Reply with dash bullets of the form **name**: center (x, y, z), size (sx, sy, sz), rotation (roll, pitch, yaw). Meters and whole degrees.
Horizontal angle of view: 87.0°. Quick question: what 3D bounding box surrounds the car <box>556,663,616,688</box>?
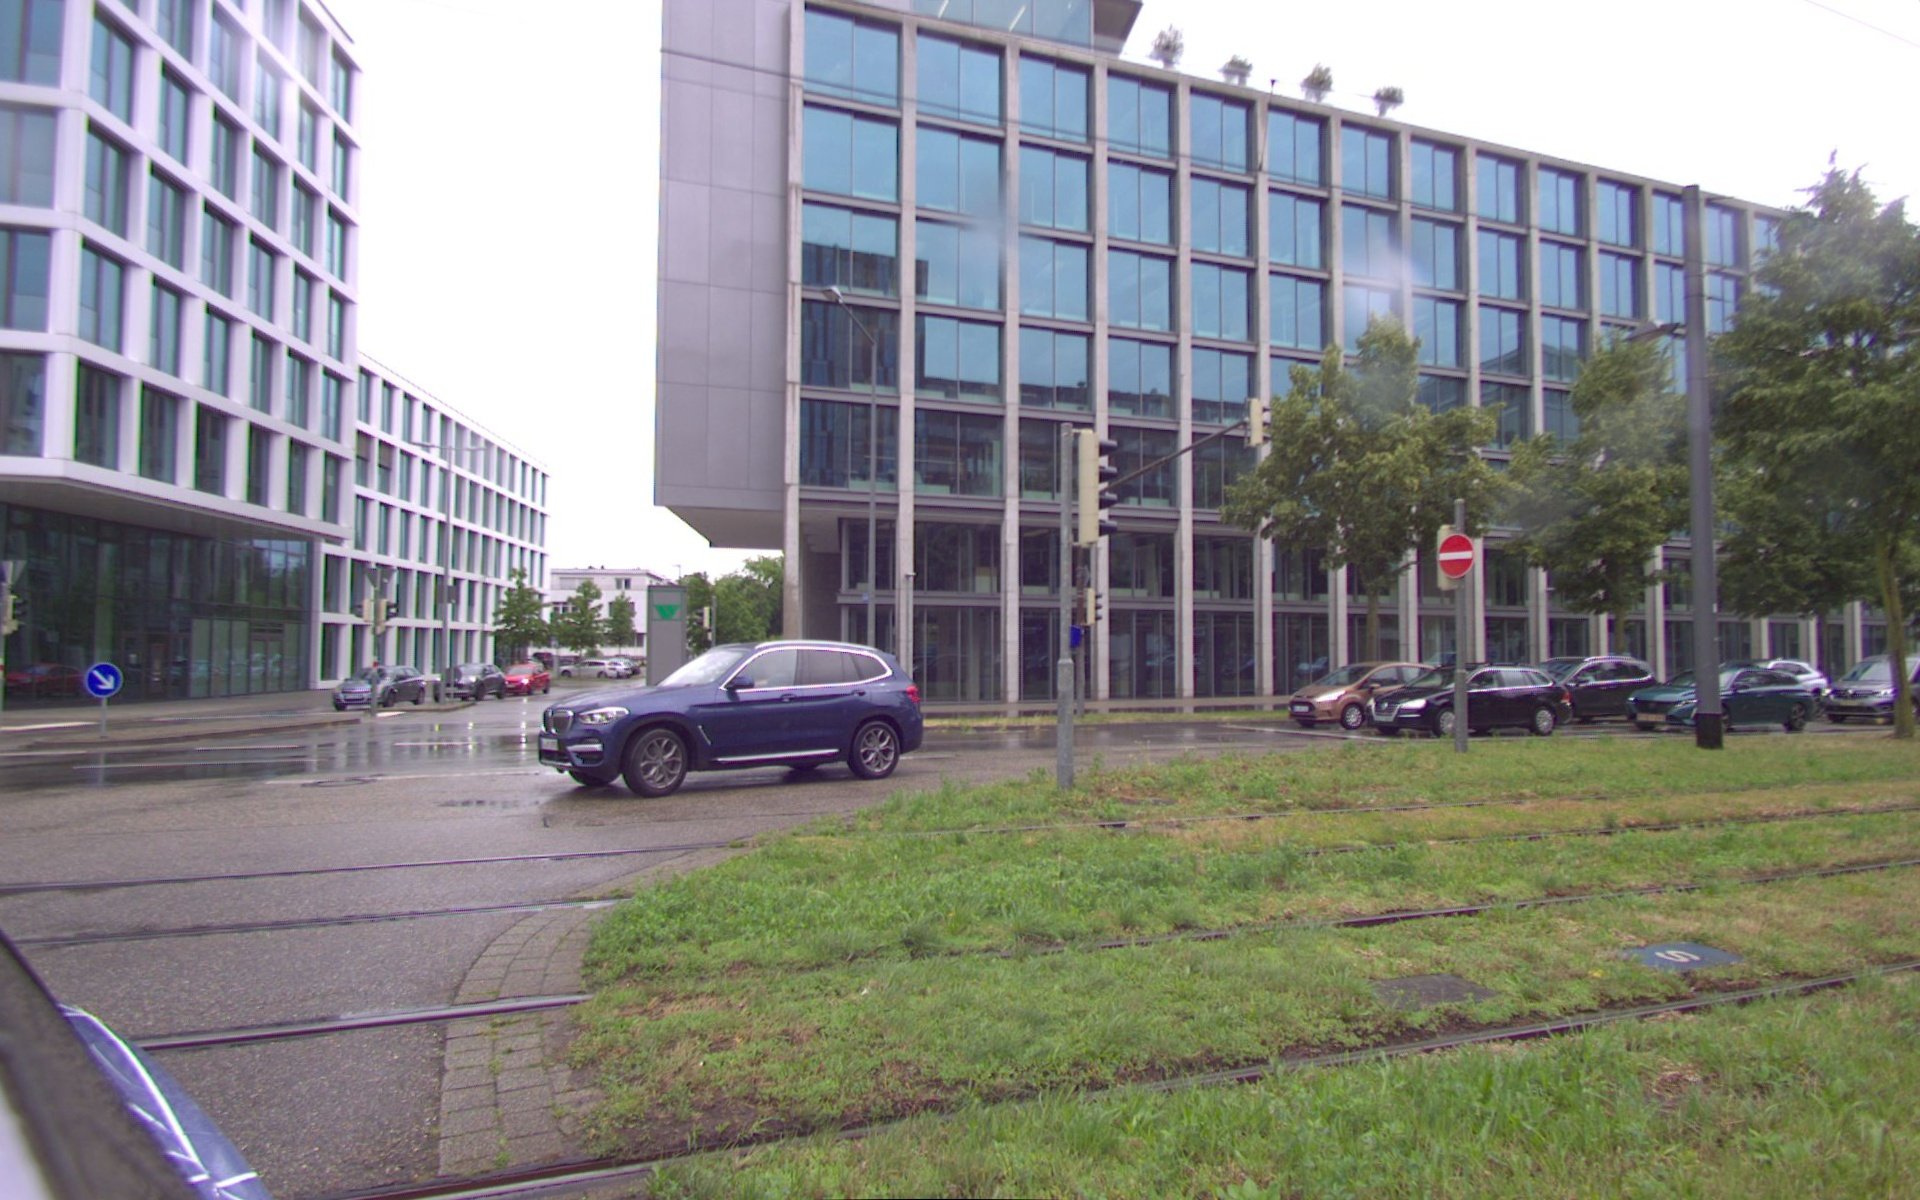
- **car**: center (-28.043, 5.633, 76.001), size (3.935, 1.674, 2.004), rotation (-1, -2, -10)

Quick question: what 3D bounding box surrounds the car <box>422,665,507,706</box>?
- **car**: center (-20.272, 3.459, 41.609), size (1.858, 1.447, 4.100), rotation (-2, -2, -6)

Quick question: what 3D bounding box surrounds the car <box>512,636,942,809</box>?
- **car**: center (-2.611, 1.326, 12.089), size (4.641, 1.673, 1.932), rotation (3, -5, -40)

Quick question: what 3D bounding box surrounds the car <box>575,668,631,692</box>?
- **car**: center (-28.352, 6.339, 80.419), size (3.935, 1.674, 2.004), rotation (-1, -2, -10)

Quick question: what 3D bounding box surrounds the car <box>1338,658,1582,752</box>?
- **car**: center (10.365, 2.098, 21.027), size (4.387, 1.571, 1.963), rotation (-2, -2, -20)

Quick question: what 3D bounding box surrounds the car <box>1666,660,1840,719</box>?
- **car**: center (22.525, 2.491, 28.765), size (4.198, 1.396, 1.963), rotation (-1, -2, -22)

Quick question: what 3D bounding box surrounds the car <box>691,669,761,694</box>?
- **car**: center (-16.699, 5.796, 72.372), size (4.588, 1.519, 2.003), rotation (-2, -2, -5)

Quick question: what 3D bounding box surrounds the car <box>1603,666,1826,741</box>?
- **car**: center (17.178, 2.304, 23.062), size (4.395, 1.396, 1.963), rotation (-1, -3, -21)

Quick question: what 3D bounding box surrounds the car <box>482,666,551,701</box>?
- **car**: center (-21.166, 3.965, 48.469), size (1.858, 1.447, 4.100), rotation (-2, -2, -6)

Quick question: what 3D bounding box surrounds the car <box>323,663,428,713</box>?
- **car**: center (-19.926, 2.961, 34.670), size (1.857, 1.447, 4.103), rotation (-1, -2, -11)

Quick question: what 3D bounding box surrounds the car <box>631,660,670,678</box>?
- **car**: center (-33.701, 7.506, 110.264), size (3.935, 1.674, 2.004), rotation (-1, -2, -10)

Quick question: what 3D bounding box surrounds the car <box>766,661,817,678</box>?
- **car**: center (-17.192, 7.043, 103.268), size (4.950, 1.519, 1.856), rotation (-2, -2, -5)

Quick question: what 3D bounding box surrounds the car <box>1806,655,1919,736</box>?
- **car**: center (24.302, 2.375, 25.936), size (4.464, 1.863, 1.963), rotation (0, -3, -20)

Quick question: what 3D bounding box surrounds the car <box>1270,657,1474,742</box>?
- **car**: center (9.770, 2.303, 24.036), size (4.198, 1.707, 1.963), rotation (-1, -2, -21)

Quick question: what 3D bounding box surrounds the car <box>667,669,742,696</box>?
- **car**: center (-16.915, 5.446, 67.209), size (4.588, 1.519, 2.003), rotation (-2, -2, -5)

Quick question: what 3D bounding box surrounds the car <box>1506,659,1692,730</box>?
- **car**: center (16.741, 2.416, 26.534), size (4.198, 1.551, 1.963), rotation (-1, -2, -22)

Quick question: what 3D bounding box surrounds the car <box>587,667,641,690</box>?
- **car**: center (-28.402, 6.446, 83.110), size (3.935, 1.674, 2.004), rotation (-1, -2, -10)
